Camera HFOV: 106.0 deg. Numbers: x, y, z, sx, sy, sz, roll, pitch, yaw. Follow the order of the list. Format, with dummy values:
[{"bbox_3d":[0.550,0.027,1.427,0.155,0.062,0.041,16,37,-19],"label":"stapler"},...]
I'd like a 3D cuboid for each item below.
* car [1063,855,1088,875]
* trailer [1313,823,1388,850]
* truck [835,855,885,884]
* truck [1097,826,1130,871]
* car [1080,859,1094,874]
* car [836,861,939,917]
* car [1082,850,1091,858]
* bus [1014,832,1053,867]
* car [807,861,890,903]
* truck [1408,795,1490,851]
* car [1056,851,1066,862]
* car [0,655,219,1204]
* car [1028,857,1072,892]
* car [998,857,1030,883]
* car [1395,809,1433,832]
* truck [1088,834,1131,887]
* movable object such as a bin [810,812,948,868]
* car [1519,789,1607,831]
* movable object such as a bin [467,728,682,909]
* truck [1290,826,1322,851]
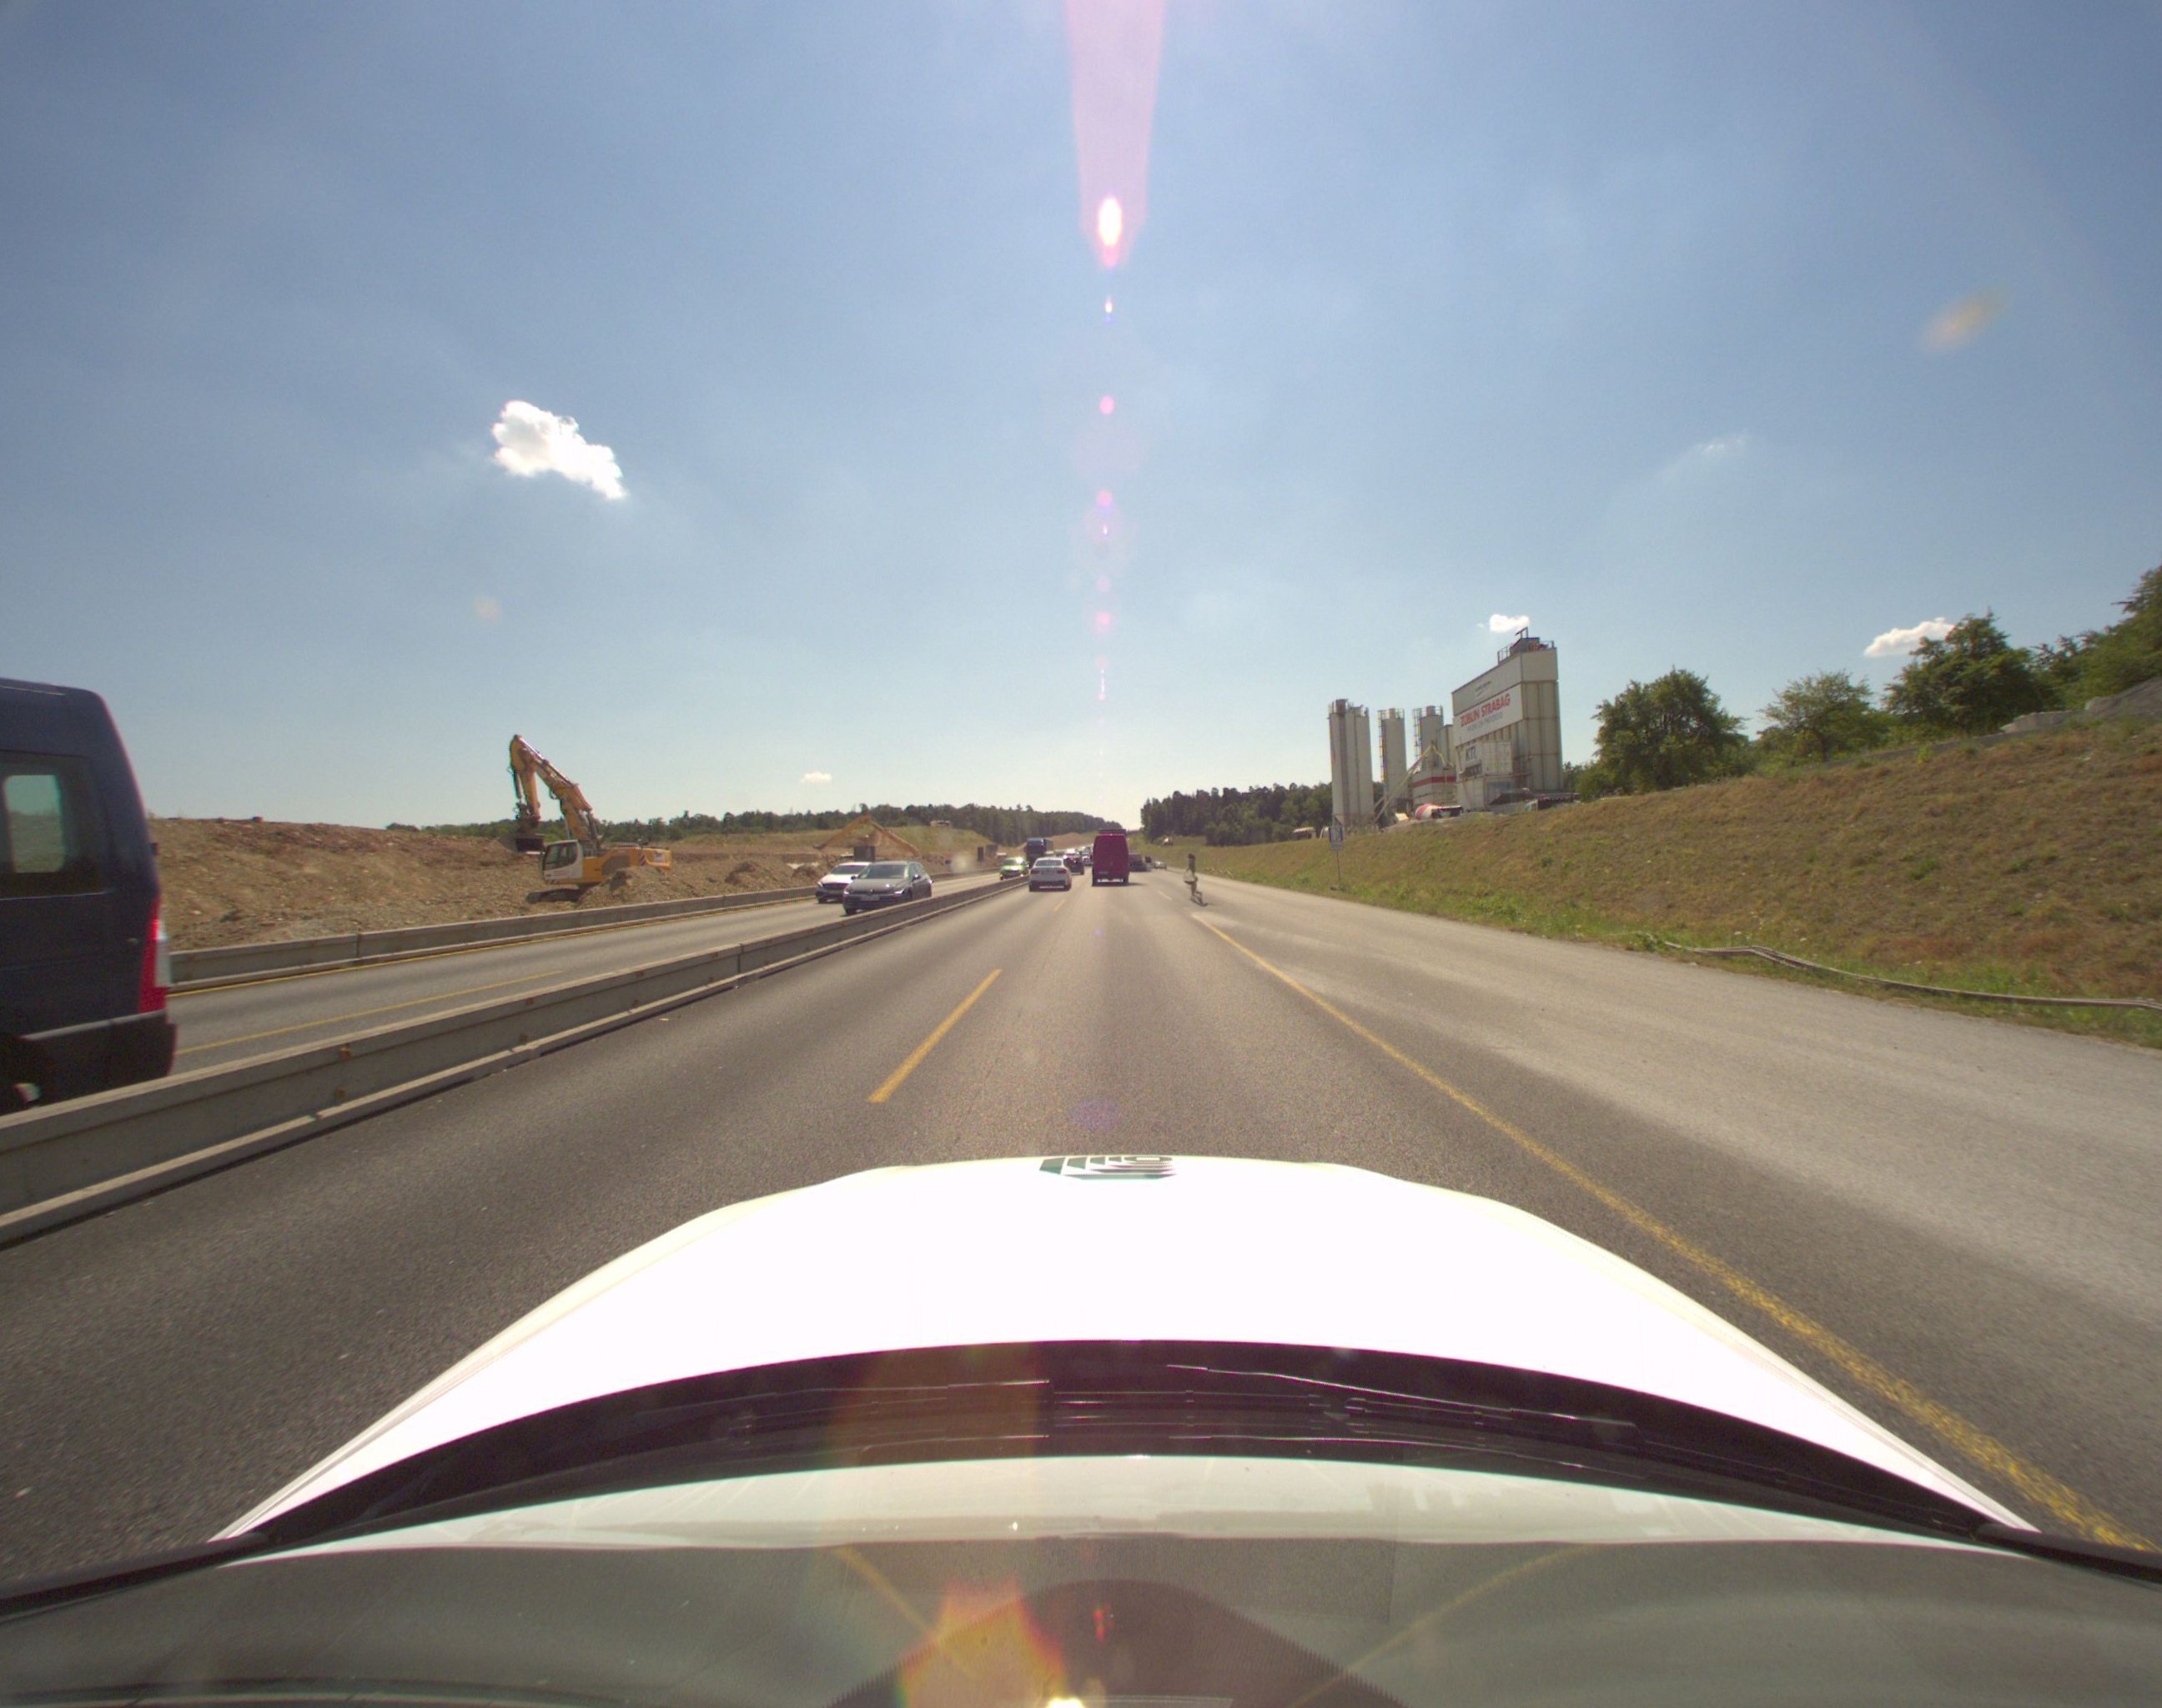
[{"bbox_3d":[-0.429,0.882,67.857,1.787,1.534,3.935,-2,0,4],"label":"car"},{"bbox_3d":[35.752,-2.293,107.979,9.006,3.229,3.316,-2,0,-13],"label":"trailer"},{"bbox_3d":[-21.938,1.490,81.161,2.307,2.617,8.414,-2,0,2],"label":"truck"},{"bbox_3d":[3.275,-0.520,81.809,3.003,4.153,8.278,-2,0,3],"label":"truck"},{"bbox_3d":[0.857,1.658,110.373,1.757,2.013,3.828,-2,0,2],"label":"car"},{"bbox_3d":[-5.572,0.957,24.070,1.779,1.476,4.526,-1,0,2],"label":"car"},{"bbox_3d":[1.468,0.016,216.927,1.986,1.904,4.002,-2,0,2],"label":"car"},{"bbox_3d":[-6.439,-0.536,114.765,3.929,4.415,17.204,-2,0,1],"label":"bus"},{"bbox_3d":[-8.595,0.991,30.500,1.684,1.433,4.451,-1,0,2],"label":"car"},{"bbox_3d":[31.447,-2.485,70.111,3.418,4.296,9.944,-2,0,6],"label":"truck"},{"bbox_3d":[-4.117,0.526,165.092,1.757,2.013,3.828,-2,0,2],"label":"car"},{"bbox_3d":[-5.909,0.362,1.879,1.948,2.468,5.360,-2,0,2],"label":"car"},{"bbox_3d":[-1.379,0.914,38.291,1.789,1.534,5.073,-1,0,1],"label":"car"},{"bbox_3d":[-4.436,1.018,54.241,1.596,1.580,4.169,-2,0,2],"label":"car"},{"bbox_3d":[32.514,-3.222,79.563,1.986,2.013,4.430,-2,0,2],"label":"car"},{"bbox_3d":[1.654,0.329,44.880,2.103,2.633,6.489,-2,0,3],"label":"truck"},{"bbox_3d":[-28.931,-1.967,117.151,18.652,7.231,3.615,-2,0,0],"label":"movable object such as a bin"},{"bbox_3d":[27.541,-2.462,46.758,2.214,2.013,4.995,-2,0,2],"label":"car"},{"bbox_3d":[-23.181,-1.540,37.580,7.605,7.713,3.448,-2,0,3],"label":"movable object such as a bin"},{"bbox_3d":[29.487,-1.979,106.662,2.869,3.113,6.048,-2,0,26],"label":"truck"}]
